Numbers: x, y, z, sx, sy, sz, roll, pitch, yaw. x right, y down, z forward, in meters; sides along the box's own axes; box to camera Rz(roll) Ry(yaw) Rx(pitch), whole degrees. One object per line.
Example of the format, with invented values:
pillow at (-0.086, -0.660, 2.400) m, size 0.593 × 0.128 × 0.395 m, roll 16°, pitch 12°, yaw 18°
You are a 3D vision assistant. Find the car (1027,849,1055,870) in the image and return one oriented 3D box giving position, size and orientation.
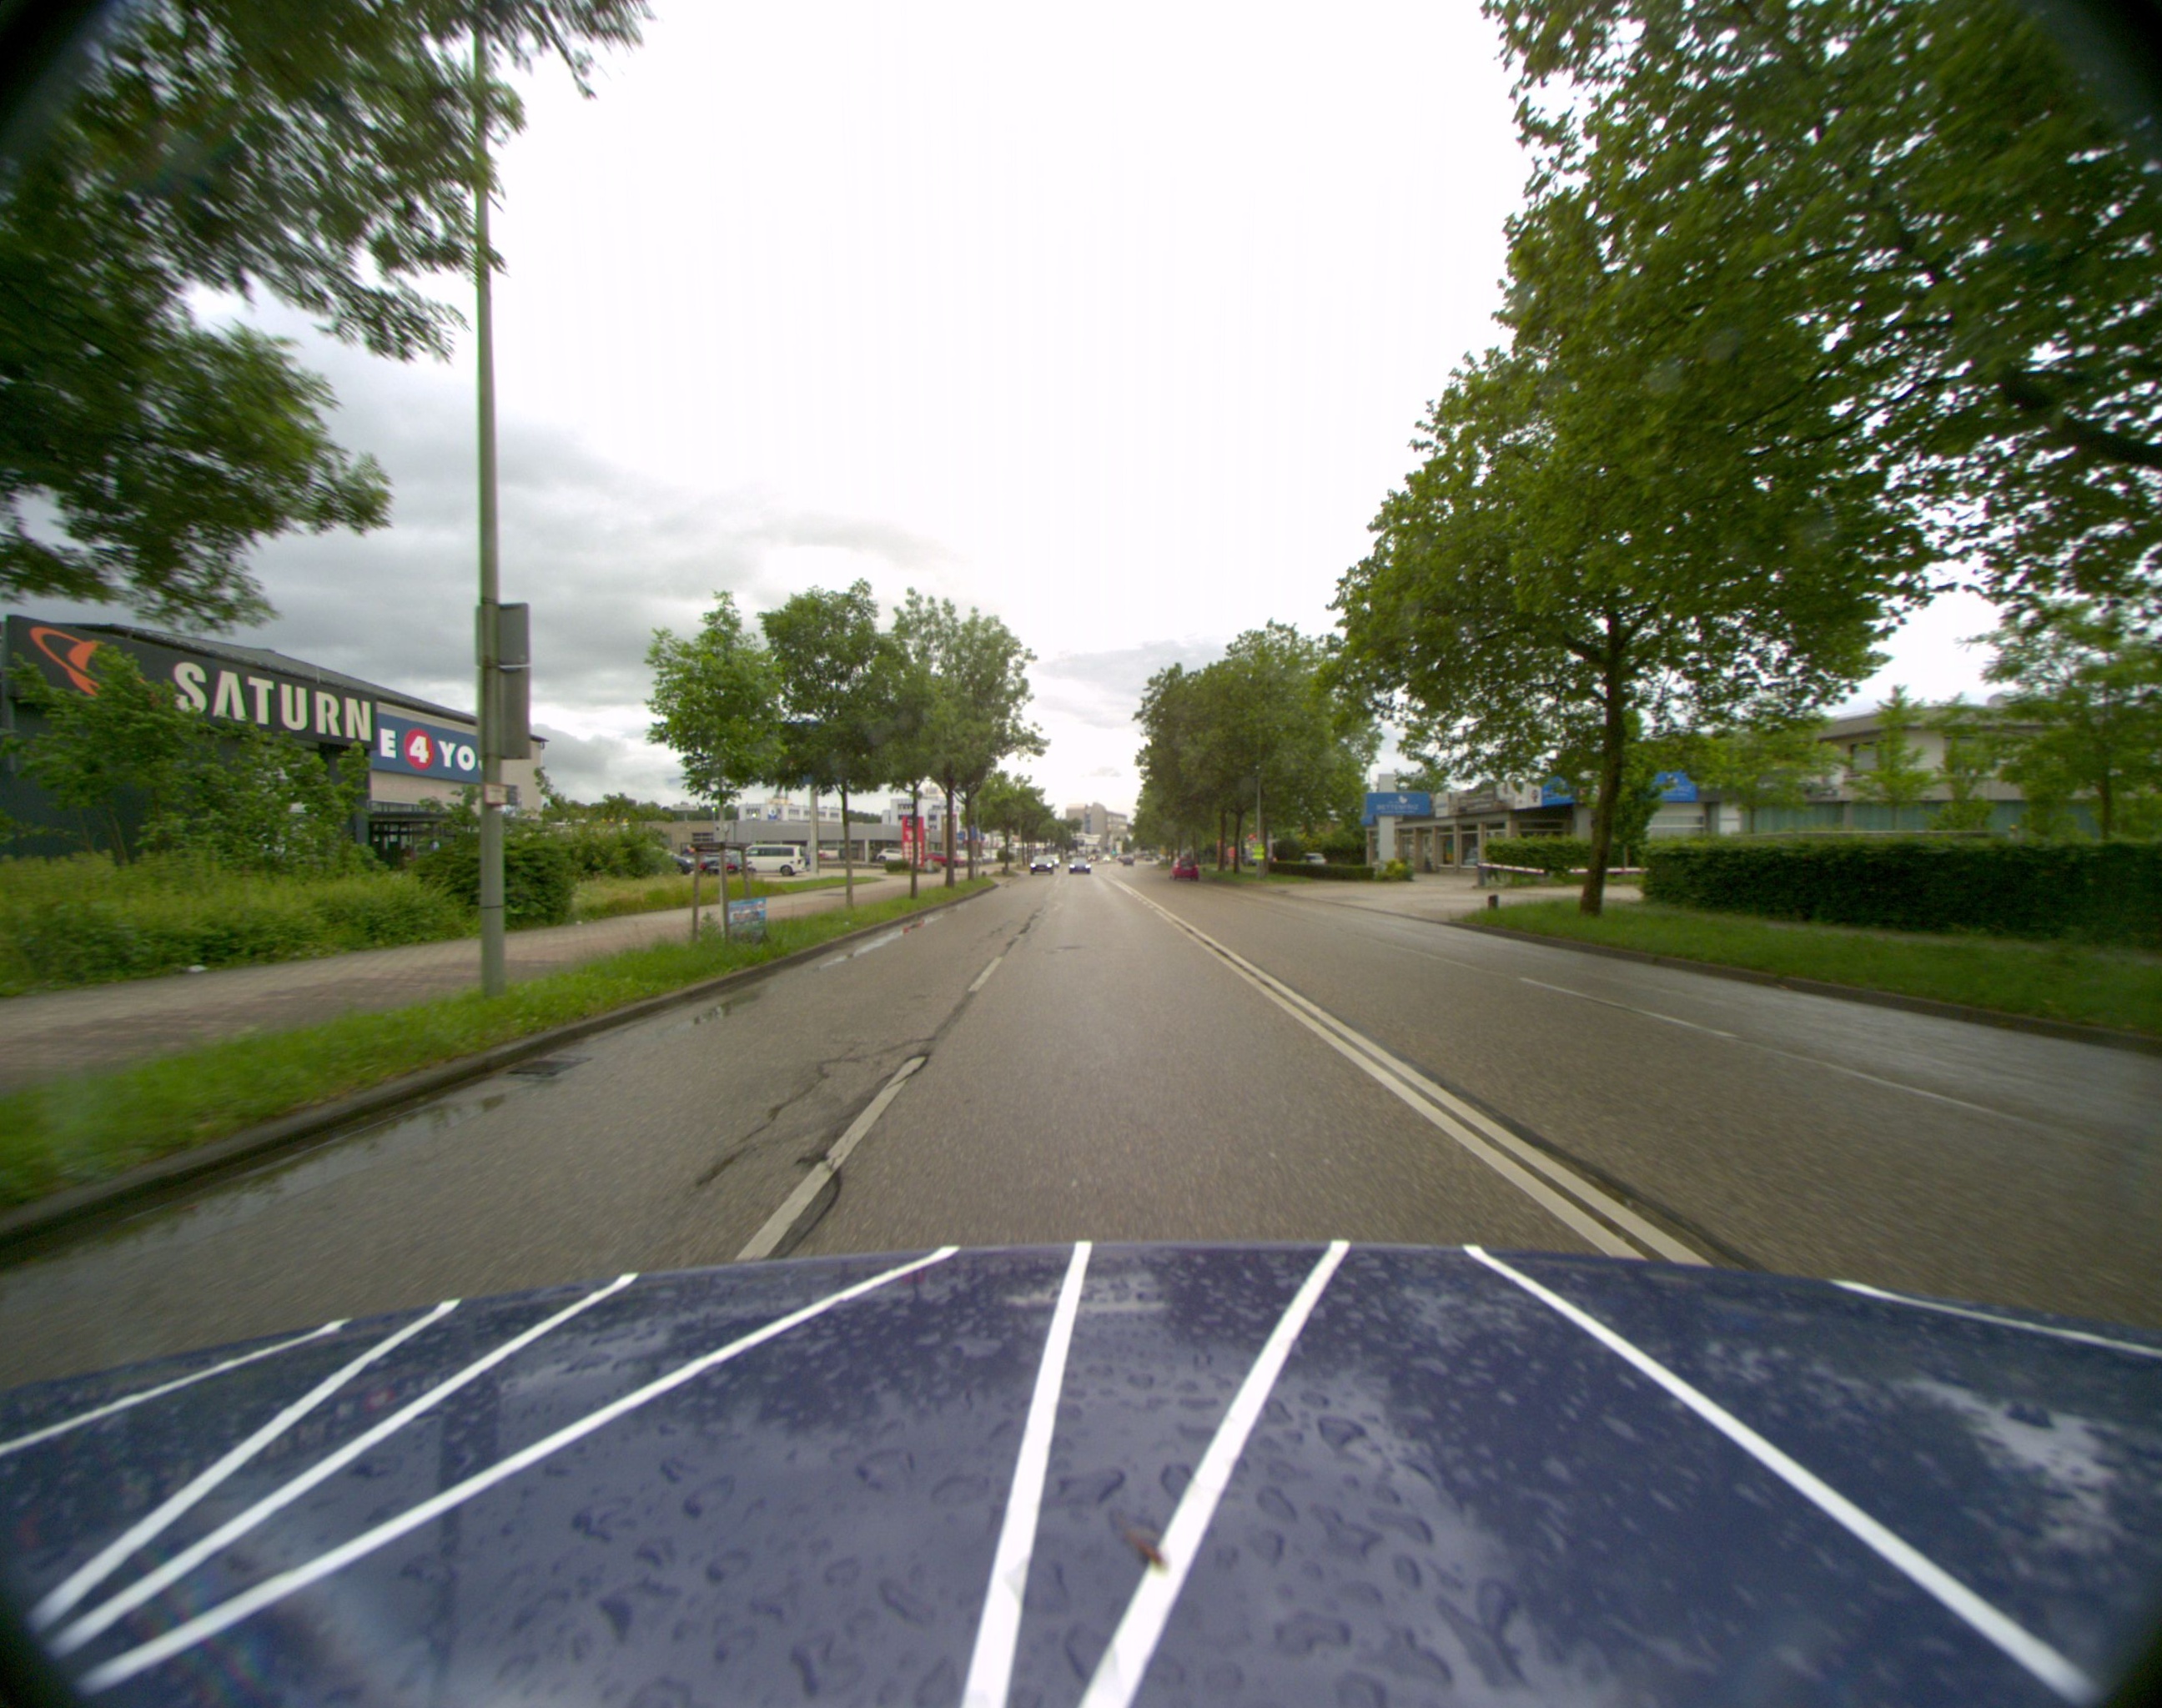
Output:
car at (-3.383, 0.474, 64.936) m, size 1.998 × 1.632 × 4.360 m, roll -2°, pitch 1°, yaw 1°

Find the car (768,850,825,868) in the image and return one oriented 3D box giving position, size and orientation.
car at (-22.438, 0.404, 60.142) m, size 4.001 × 1.390 × 1.675 m, roll 0°, pitch 0°, yaw -11°

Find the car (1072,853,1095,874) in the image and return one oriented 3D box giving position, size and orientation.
car at (0.243, 0.807, 67.570) m, size 1.998 × 1.632 × 4.360 m, roll -2°, pitch 1°, yaw 1°

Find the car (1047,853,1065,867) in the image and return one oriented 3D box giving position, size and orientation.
car at (-3.171, 0.794, 97.096) m, size 1.998 × 1.632 × 4.360 m, roll -2°, pitch 1°, yaw 1°

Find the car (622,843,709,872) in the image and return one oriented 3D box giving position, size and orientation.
car at (-26.211, 0.222, 48.082) m, size 4.454 × 1.752 × 1.998 m, roll 0°, pitch 1°, yaw -10°

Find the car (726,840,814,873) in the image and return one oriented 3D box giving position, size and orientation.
car at (-19.950, 0.158, 48.995) m, size 4.966 × 2.002 × 1.998 m, roll 1°, pitch 1°, yaw -12°

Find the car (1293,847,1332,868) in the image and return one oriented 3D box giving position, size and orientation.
car at (17.592, 0.247, 57.874) m, size 1.746 × 1.525 × 4.000 m, roll 2°, pitch 1°, yaw 1°

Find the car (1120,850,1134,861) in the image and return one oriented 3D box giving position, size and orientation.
car at (7.375, 0.212, 122.690) m, size 1.998 × 1.632 × 4.360 m, roll 0°, pitch 0°, yaw 1°

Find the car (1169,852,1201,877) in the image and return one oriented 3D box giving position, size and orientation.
car at (7.143, 0.682, 52.349) m, size 1.746 × 1.525 × 4.000 m, roll 2°, pitch 1°, yaw 2°

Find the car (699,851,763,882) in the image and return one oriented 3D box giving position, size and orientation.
car at (-16.899, 0.560, 36.902) m, size 1.755 × 1.405 × 4.132 m, roll 1°, pitch 1°, yaw -9°
